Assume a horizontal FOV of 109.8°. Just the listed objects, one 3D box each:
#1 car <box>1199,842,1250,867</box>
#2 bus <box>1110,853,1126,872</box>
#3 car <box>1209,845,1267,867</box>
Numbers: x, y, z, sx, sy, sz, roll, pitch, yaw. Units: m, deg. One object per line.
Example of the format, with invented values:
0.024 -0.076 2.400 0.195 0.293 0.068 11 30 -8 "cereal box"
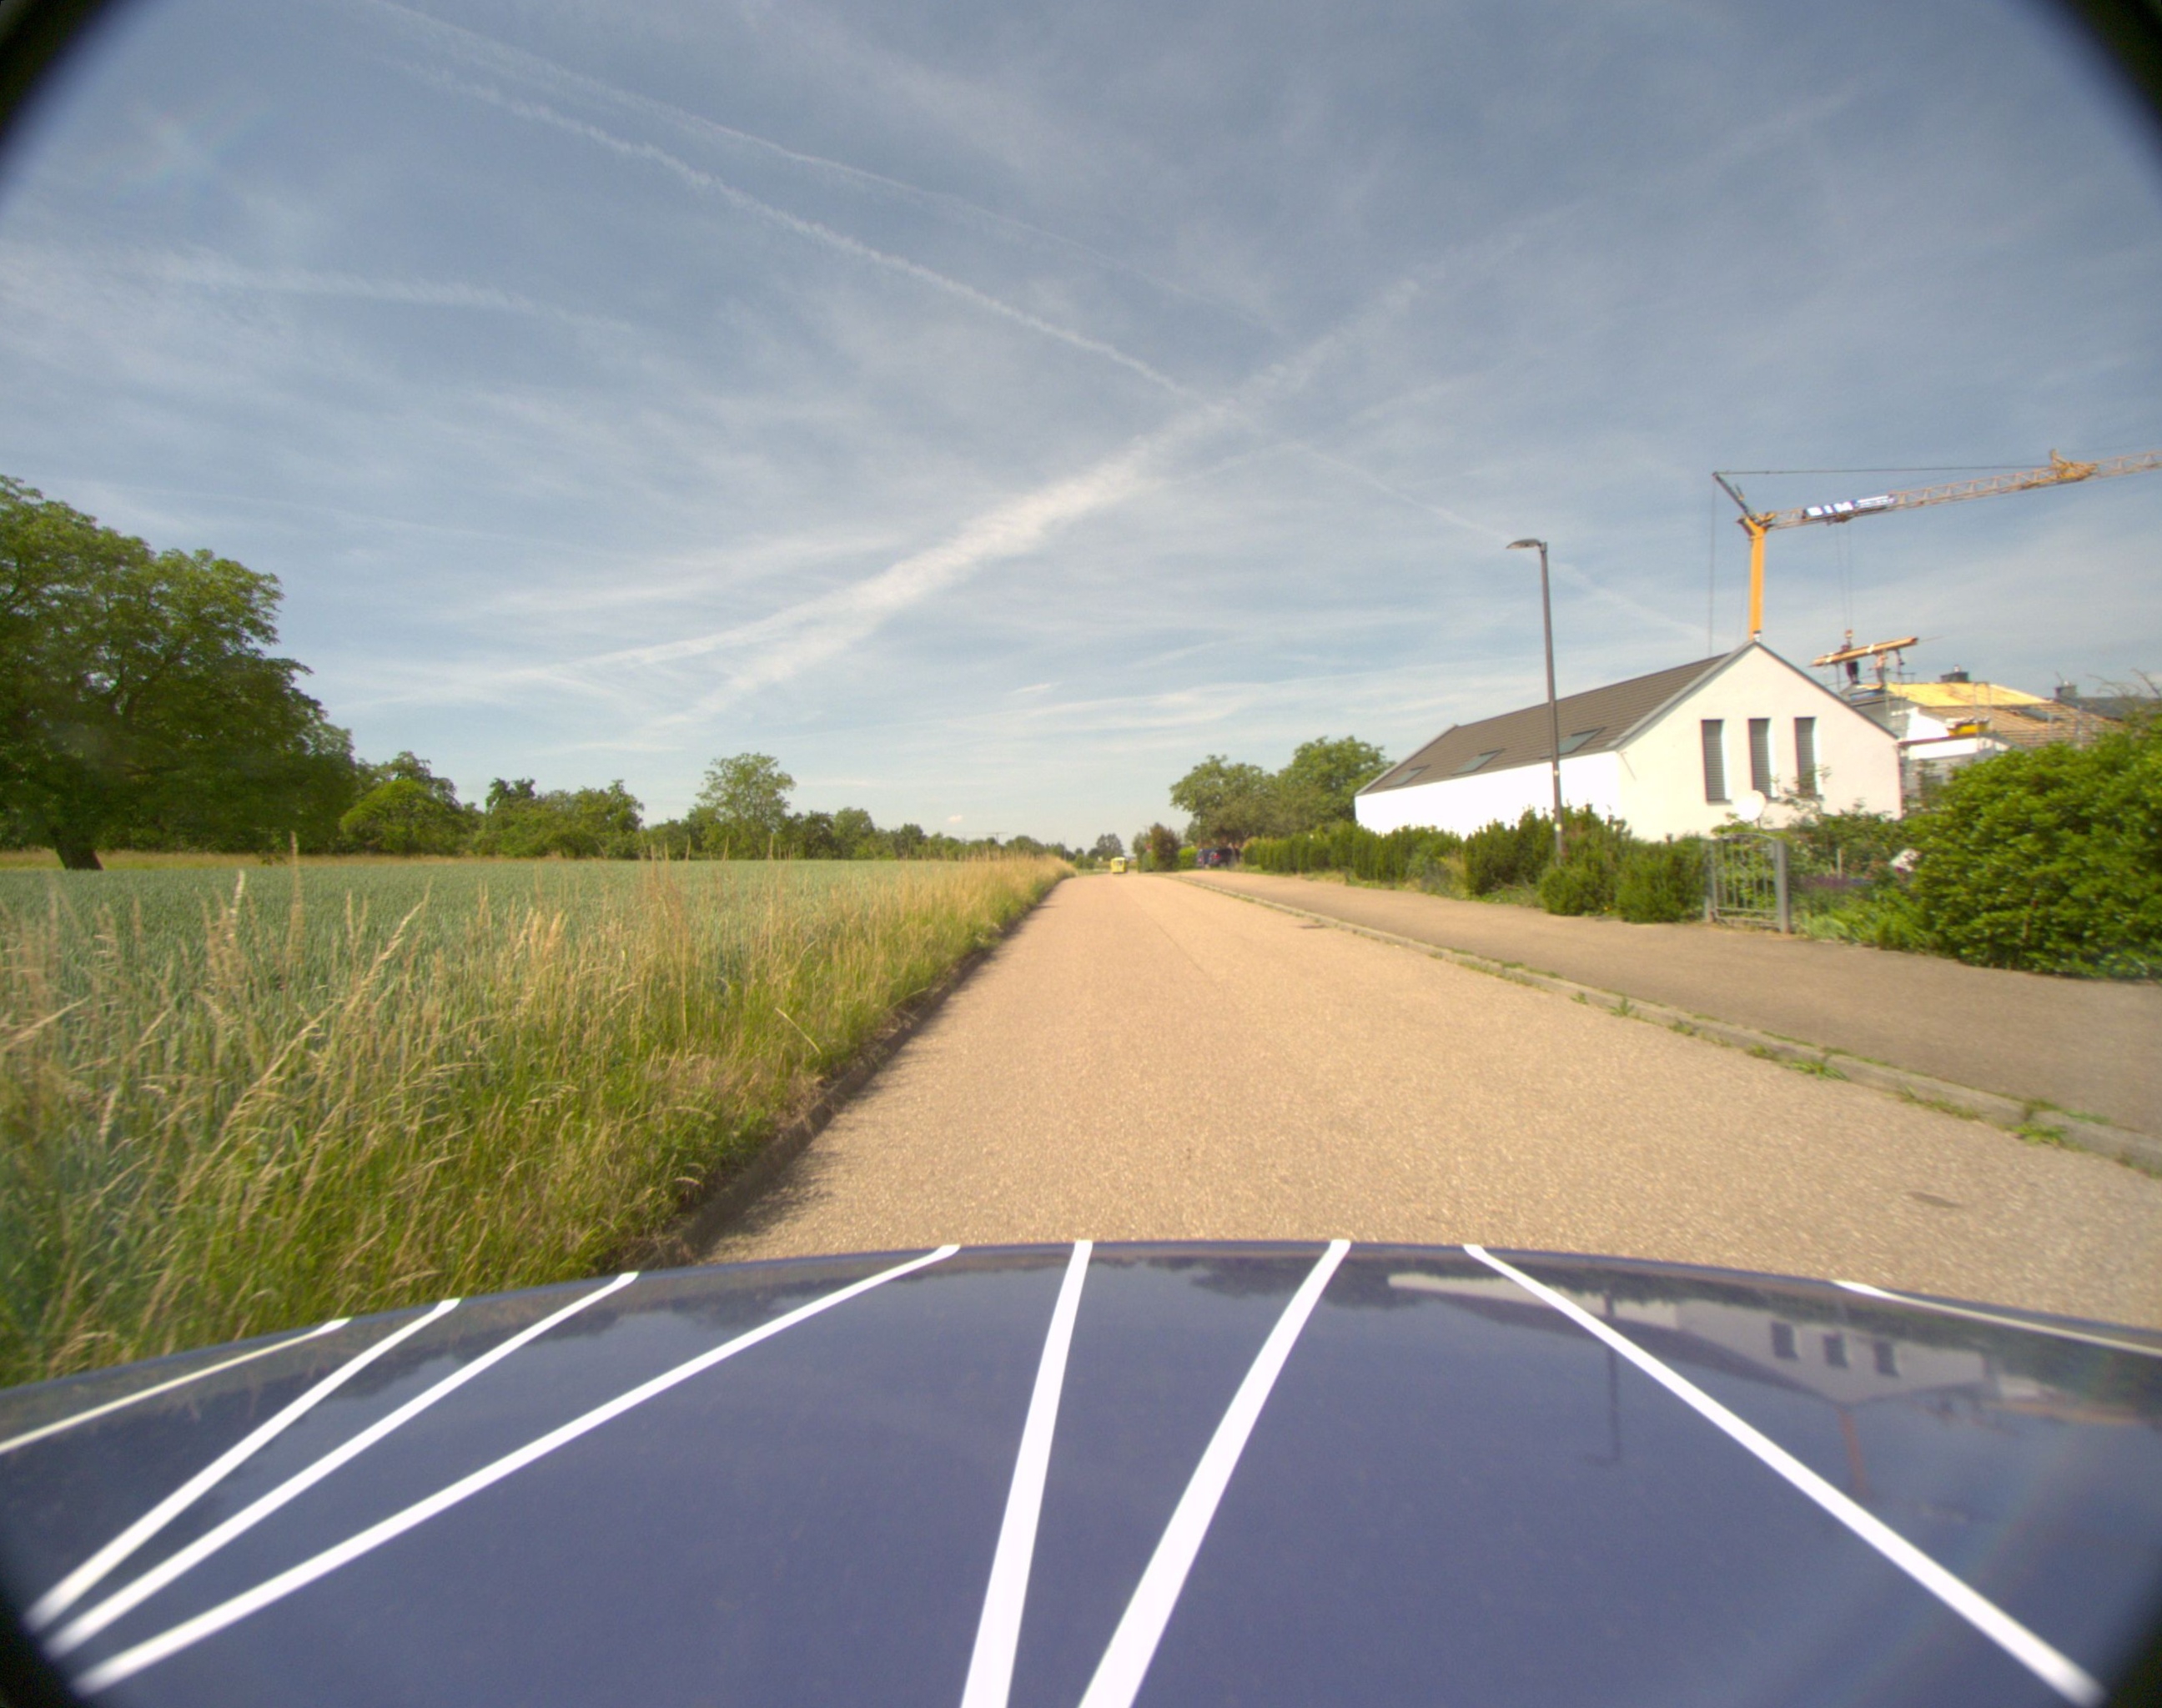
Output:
11.808 0.054 62.754 3.885 1.802 1.801 -4 0 5 "car"
7.640 1.688 155.754 3.066 3.557 9.456 -2 1 4 "bus"
11.233 0.125 54.606 3.885 1.314 1.801 -3 0 5 "car"
